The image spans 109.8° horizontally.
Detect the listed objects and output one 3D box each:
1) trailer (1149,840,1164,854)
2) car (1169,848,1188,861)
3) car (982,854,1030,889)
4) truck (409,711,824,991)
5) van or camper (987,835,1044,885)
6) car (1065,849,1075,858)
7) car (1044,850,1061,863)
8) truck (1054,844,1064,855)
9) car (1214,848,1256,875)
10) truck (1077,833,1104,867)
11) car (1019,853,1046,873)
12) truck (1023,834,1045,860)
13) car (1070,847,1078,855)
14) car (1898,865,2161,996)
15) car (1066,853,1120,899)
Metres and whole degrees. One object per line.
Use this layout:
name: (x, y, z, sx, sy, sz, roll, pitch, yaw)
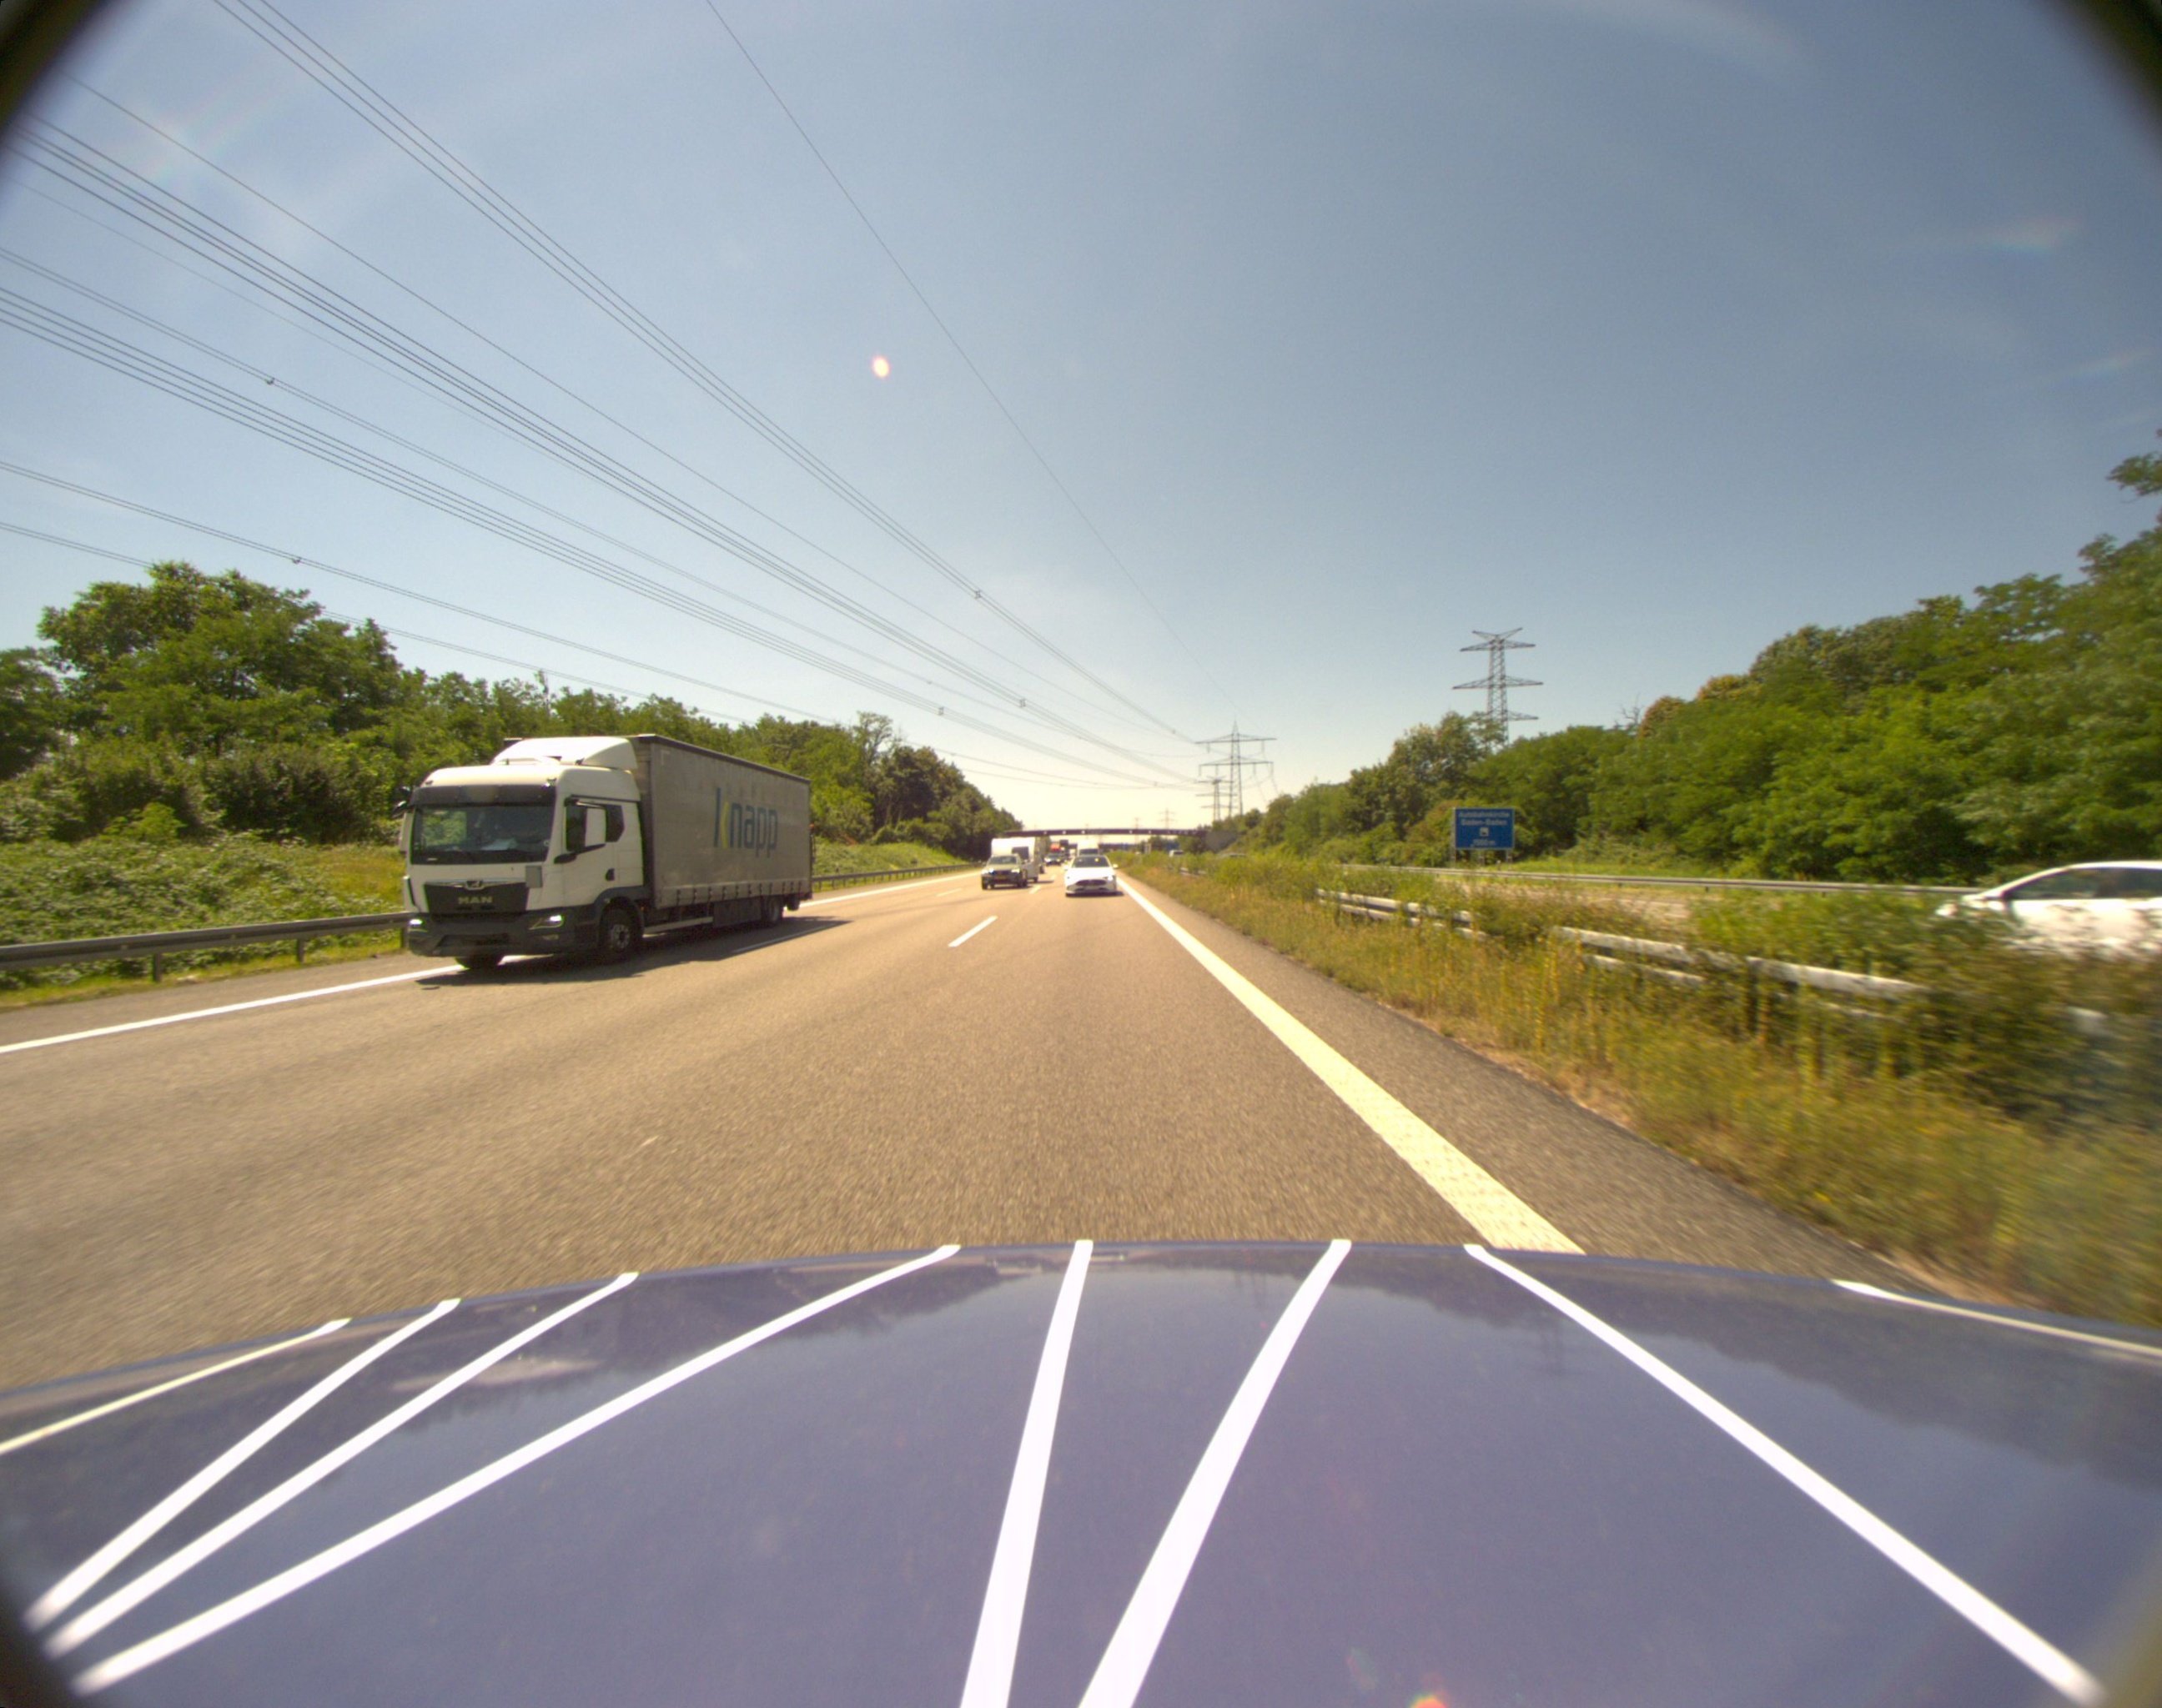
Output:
trailer: (19.626, -1.862, 197.992, 2.881, 3.666, 12.716, 1, 1, 1)
car: (14.612, 0.055, 114.165, 1.999, 1.921, 5.413, 1, 0, -1)
car: (-3.535, 0.782, 36.296, 1.788, 1.520, 4.104, -2, 0, 1)
truck: (-8.004, -0.057, 15.352, 1.987, 3.750, 10.042, -2, 0, 1)
van or camper: (-3.477, 0.278, 41.562, 2.411, 2.483, 6.432, -2, 0, 1)
car: (-2.295, -0.110, 161.227, 1.998, 2.002, 4.000, 0, 0, 1)
car: (-3.663, 0.307, 97.144, 1.904, 1.662, 4.000, -2, 0, 1)
truck: (-6.193, -1.257, 214.102, 2.619, 2.801, 6.593, -1, 0, 1)
car: (9.530, 0.443, 47.336, 1.817, 1.592, 4.000, 0, 0, 1)
truck: (0.874, -0.354, 68.691, 2.192, 2.841, 5.503, -3, 0, 1)
car: (-3.777, 0.667, 59.194, 1.803, 1.533, 3.806, 0, 0, 1)
truck: (-7.138, -1.125, 115.371, 2.584, 3.704, 8.279, -2, 1, 1)
car: (-1.916, -0.838, 201.518, 1.998, 2.002, 4.000, -1, 0, 1)
car: (13.276, 0.903, 9.516, 1.811, 1.440, 4.000, 0, 0, 1)
car: (0.436, 0.750, 27.933, 1.788, 1.462, 4.000, -2, 1, 1)
